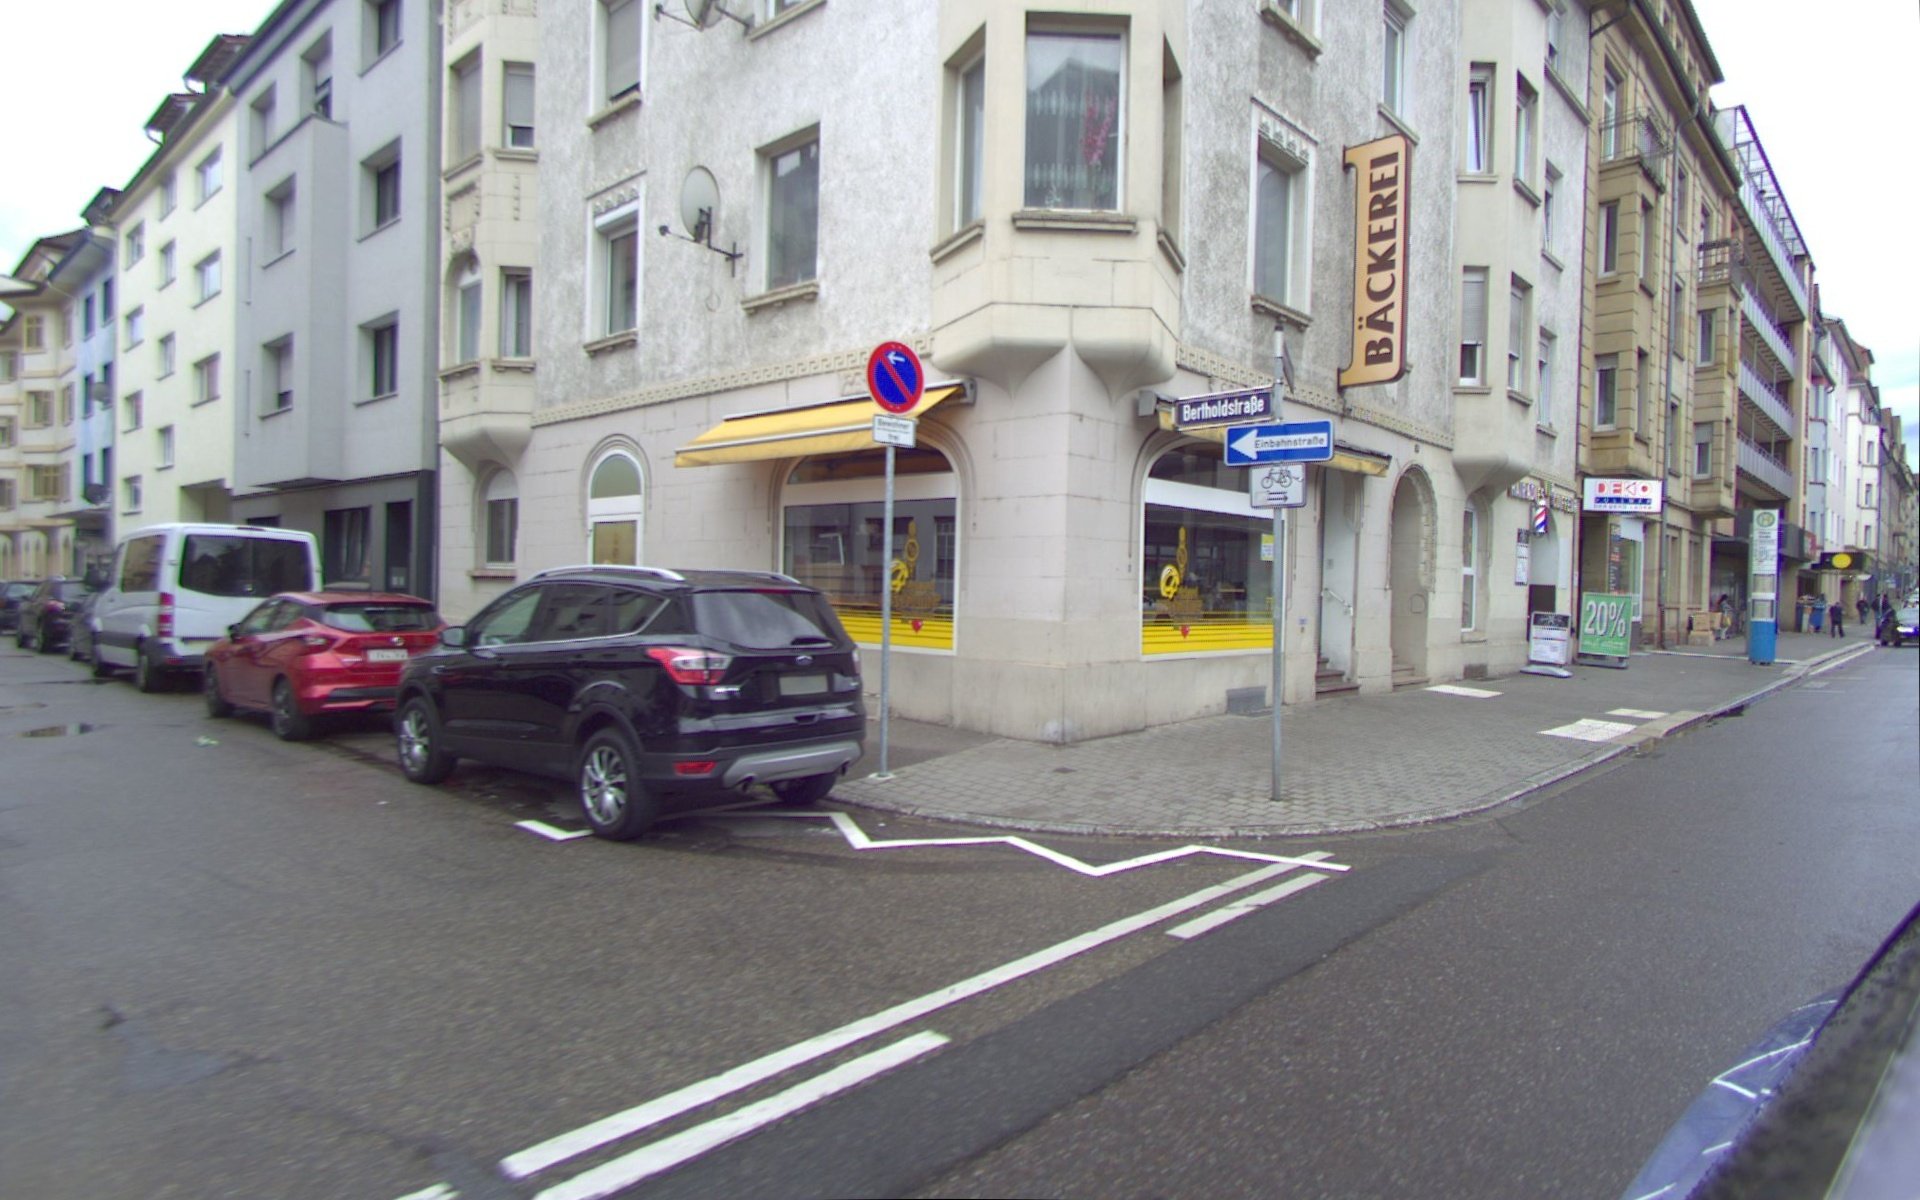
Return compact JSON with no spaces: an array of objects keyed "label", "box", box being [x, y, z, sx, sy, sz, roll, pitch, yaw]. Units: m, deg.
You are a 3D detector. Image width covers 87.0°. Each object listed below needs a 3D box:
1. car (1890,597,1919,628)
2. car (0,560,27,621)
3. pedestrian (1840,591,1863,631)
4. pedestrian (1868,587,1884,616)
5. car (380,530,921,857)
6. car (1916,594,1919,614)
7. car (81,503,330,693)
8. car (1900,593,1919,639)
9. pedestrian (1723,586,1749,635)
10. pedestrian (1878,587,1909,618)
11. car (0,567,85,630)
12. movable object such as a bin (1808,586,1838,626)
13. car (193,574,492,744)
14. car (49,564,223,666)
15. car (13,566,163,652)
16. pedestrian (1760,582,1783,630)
[{"label":"car","box":[42.376,0.534,44.617,3.703,1.327,1.736,0,-1,-43]},{"label":"car","box":[-33.572,-0.341,34.668,3.883,2.015,1.882,1,1,40]},{"label":"pedestrian","box":[38.264,0.484,43.433,0.736,1.672,0.626,1,1,-45]},{"label":"pedestrian","box":[56.364,0.074,62.251,0.687,1.770,0.610,0,2,-44]},{"label":"car","box":[-2.468,0.496,7.588,4.130,1.794,1.847,1,-1,39]},{"label":"car","box":[73.335,0.306,76.246,1.851,1.482,4.139,1,1,44]},{"label":"car","box":[-11.483,-0.061,15.276,4.714,2.435,1.987,1,1,40]},{"label":"car","box":[35.860,0.568,37.152,3.916,1.566,1.732,-1,2,-44]},{"label":"pedestrian","box":[25.728,0.336,33.558,0.558,1.592,0.621,1,0,29]},{"label":"pedestrian","box":[56.441,0.133,61.204,0.839,1.770,1.063,2,2,4]},{"label":"car","box":[-26.875,-0.068,29.190,3.883,1.712,1.882,1,1,40]},{"label":"movable object such as a bin","box":[40.718,0.249,47.758,0.999,1.815,1.276,2,2,43]},{"label":"car","box":[-6.944,0.510,11.255,3.680,1.509,1.755,3,2,40]},{"label":"car","box":[-15.358,0.219,18.827,3.540,1.712,1.882,1,1,40]},{"label":"car","box":[-19.089,0.142,22.104,3.883,1.712,1.882,1,1,40]},{"label":"pedestrian","box":[32.447,0.236,40.475,0.715,1.882,0.597,-1,1,-41]}]
